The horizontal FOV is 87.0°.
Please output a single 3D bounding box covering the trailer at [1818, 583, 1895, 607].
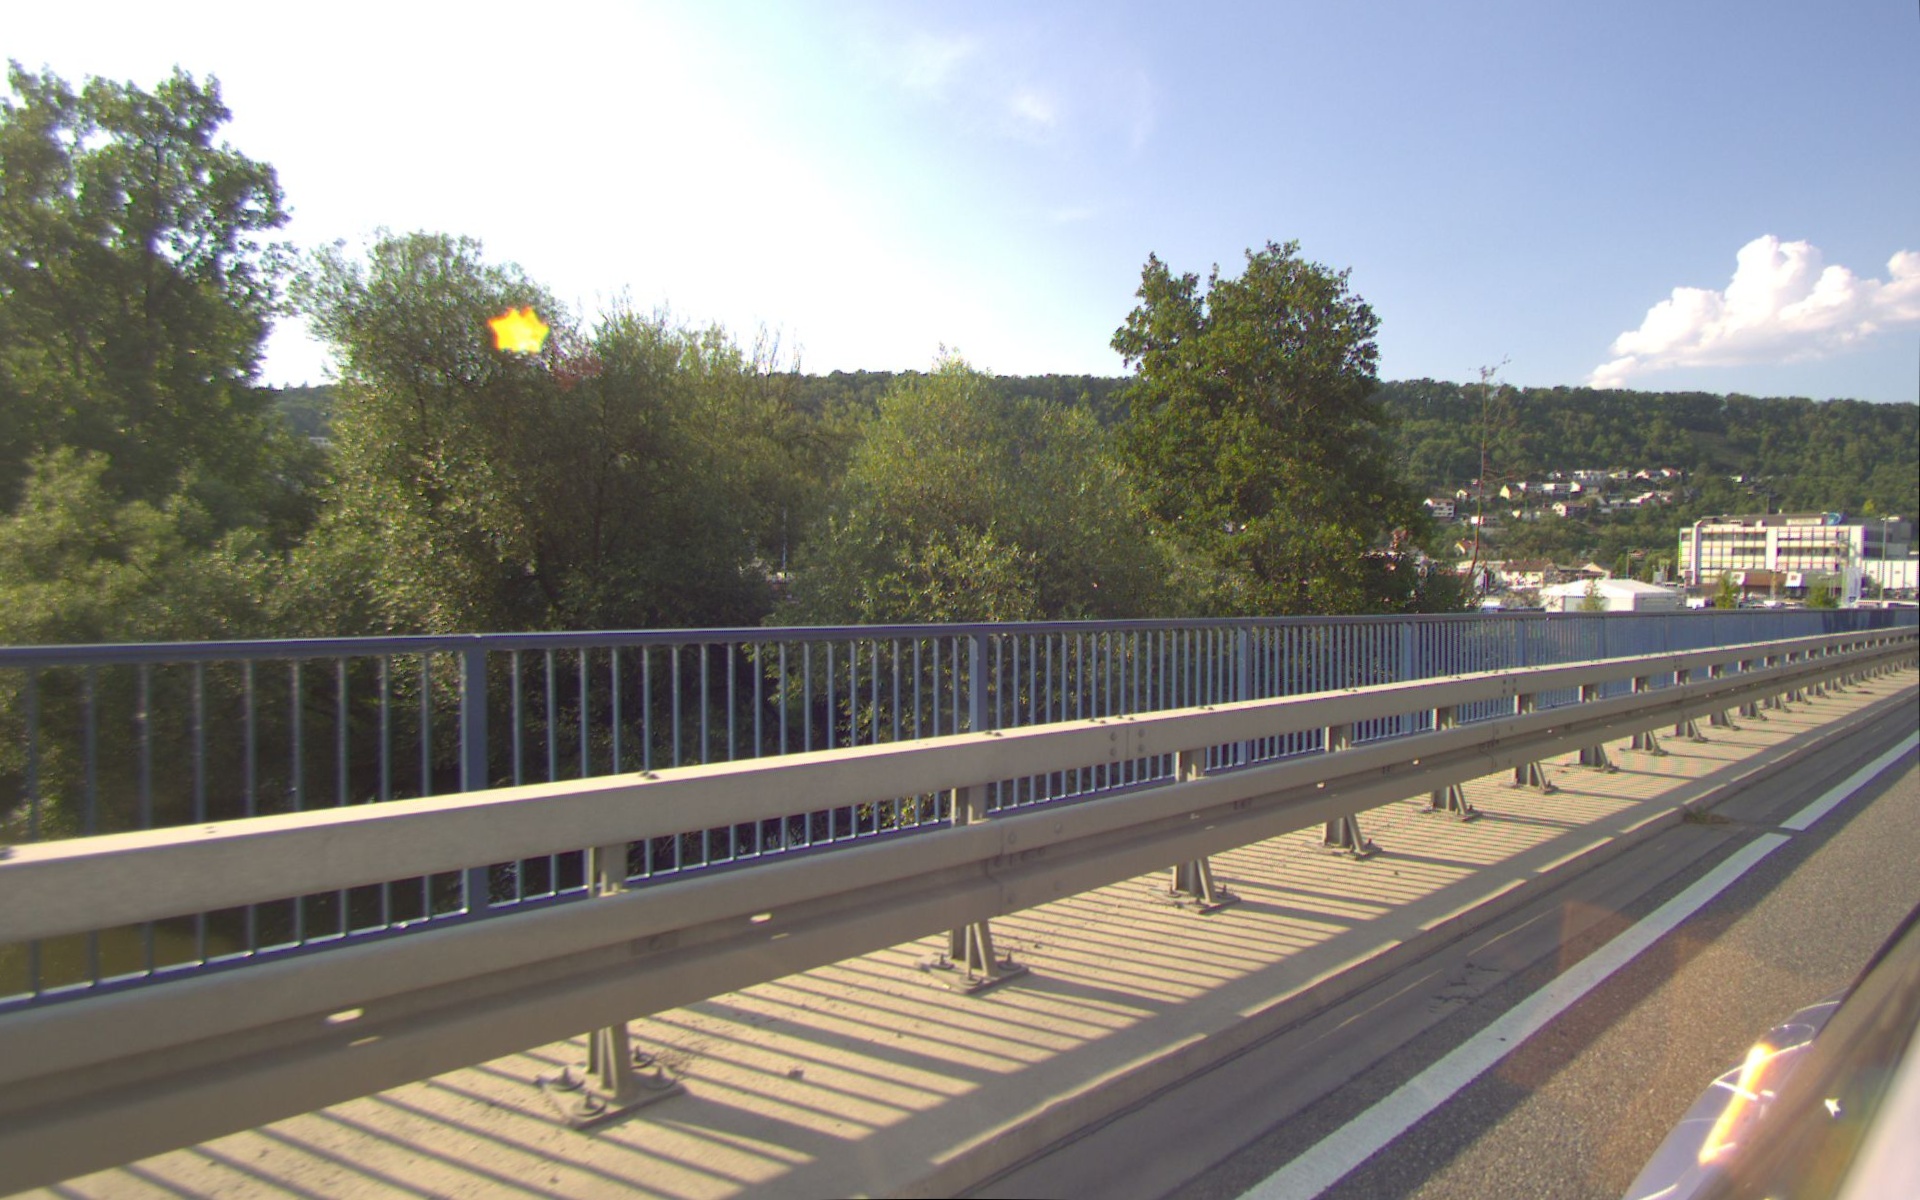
[{"bbox_3d":[130.352,-0.791,147.235,3.296,3.364,7.903,-1,1,-36],"label":"trailer"}]
